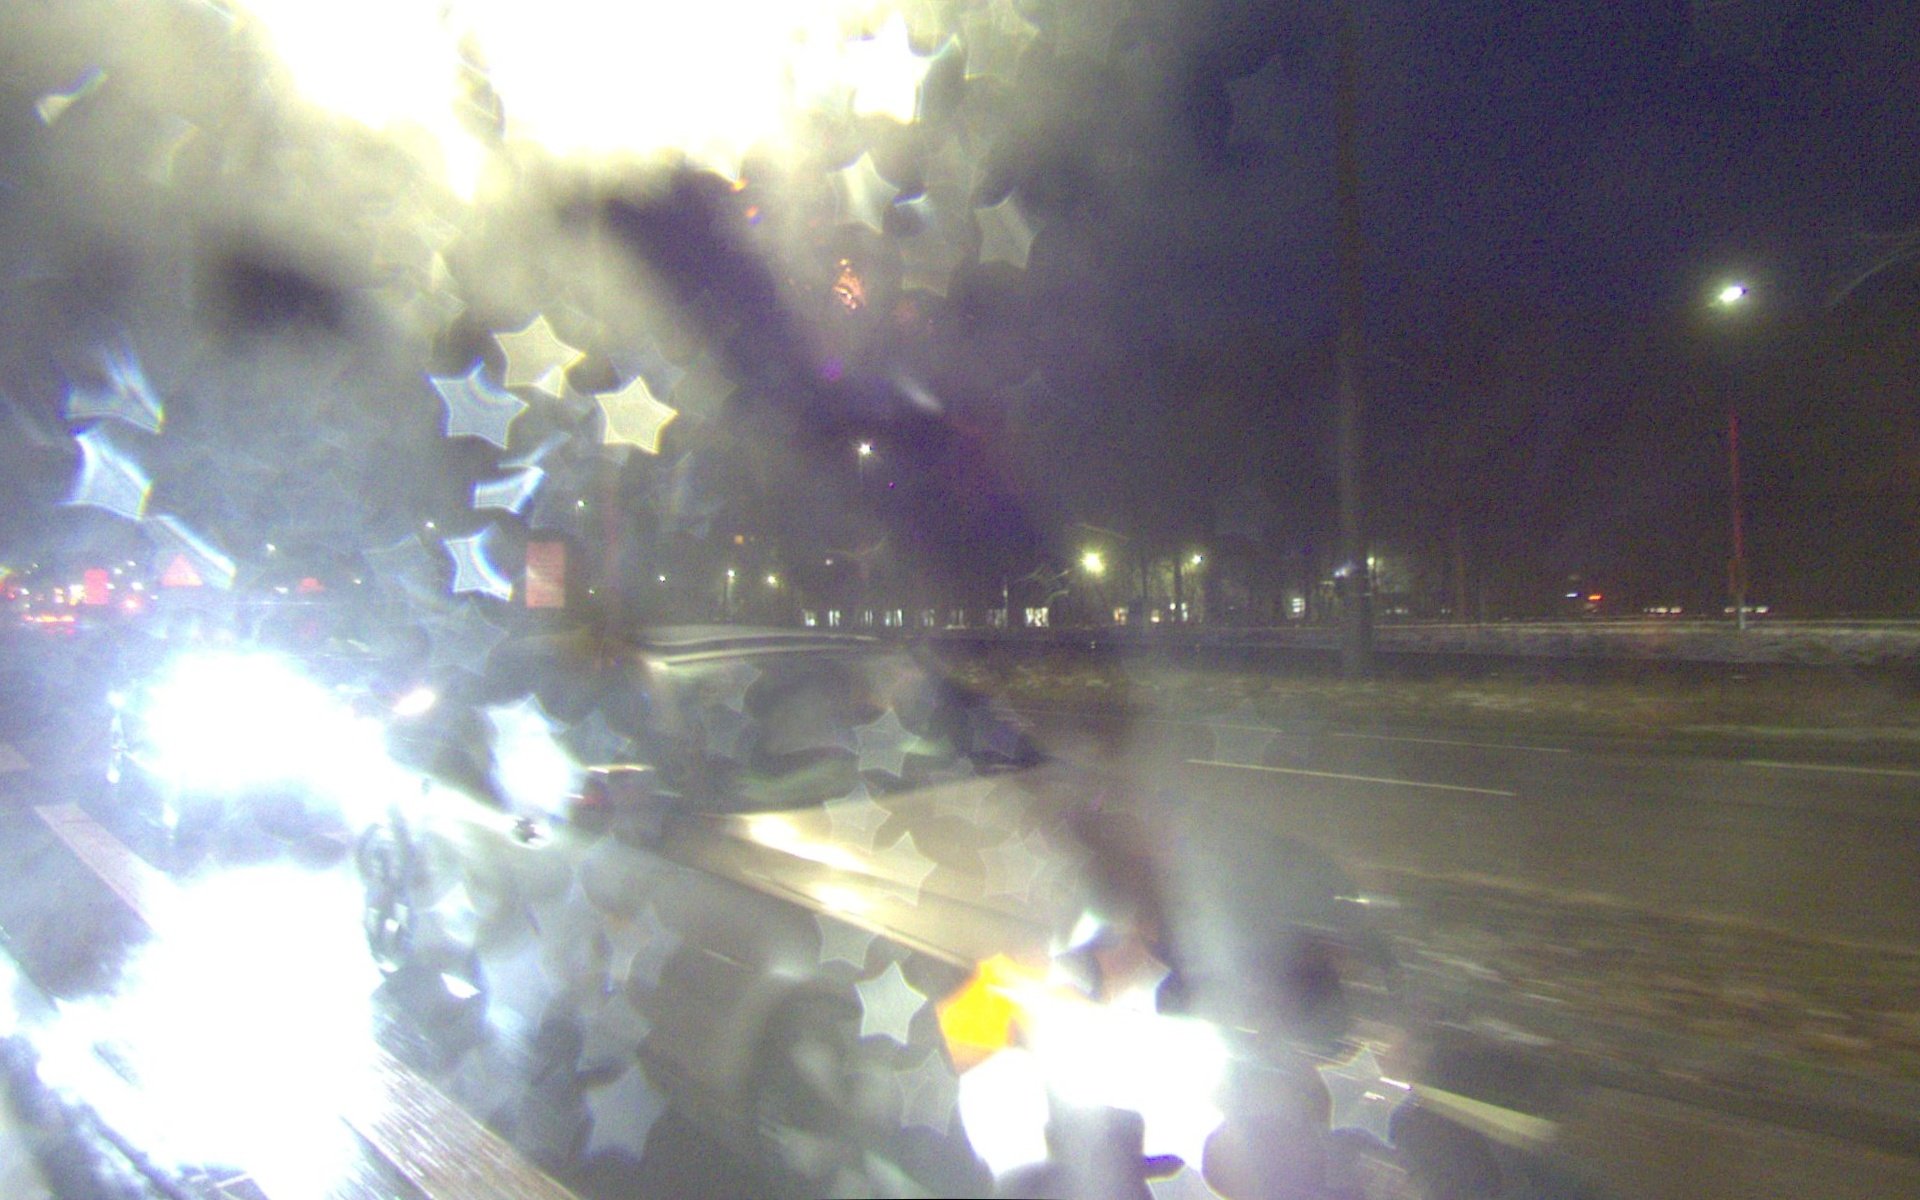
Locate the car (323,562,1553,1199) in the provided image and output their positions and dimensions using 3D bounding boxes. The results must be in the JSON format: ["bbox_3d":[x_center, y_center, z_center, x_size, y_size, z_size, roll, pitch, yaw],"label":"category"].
[{"bbox_3d":[-0.601,0.754,3.632,4.436,1.522,1.764,-1,-2,43],"label":"car"}]

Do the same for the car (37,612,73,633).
[{"bbox_3d":[-76.673,1.868,85.679,4.651,1.654,1.743,-1,1,42],"label":"car"}]

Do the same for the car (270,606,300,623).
[{"bbox_3d":[-73.663,1.578,110.465,4.220,1.706,1.766,-2,1,44],"label":"car"}]

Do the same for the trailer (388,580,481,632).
[{"bbox_3d":[-52.762,0.535,101.299,14.256,4.643,3.927,0,4,45],"label":"trailer"}]

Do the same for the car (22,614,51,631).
[{"bbox_3d":[-90.779,2.180,99.468,4.031,1.600,1.782,0,1,43],"label":"car"}]

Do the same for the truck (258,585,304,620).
[{"bbox_3d":[-98.941,0.346,147.454,10.219,4.643,3.401,0,4,45],"label":"truck"}]

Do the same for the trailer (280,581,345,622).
[{"bbox_3d":[-86.746,0.136,135.414,14.844,5.049,3.927,0,4,45],"label":"trailer"}]

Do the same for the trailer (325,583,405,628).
[{"bbox_3d":[-68.653,0.548,116.559,15.524,4.643,3.927,0,4,45],"label":"trailer"}]

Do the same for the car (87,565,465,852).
[{"bbox_3d":[-5.937,0.718,8.531,4.437,1.795,1.764,-2,-1,44],"label":"car"}]
